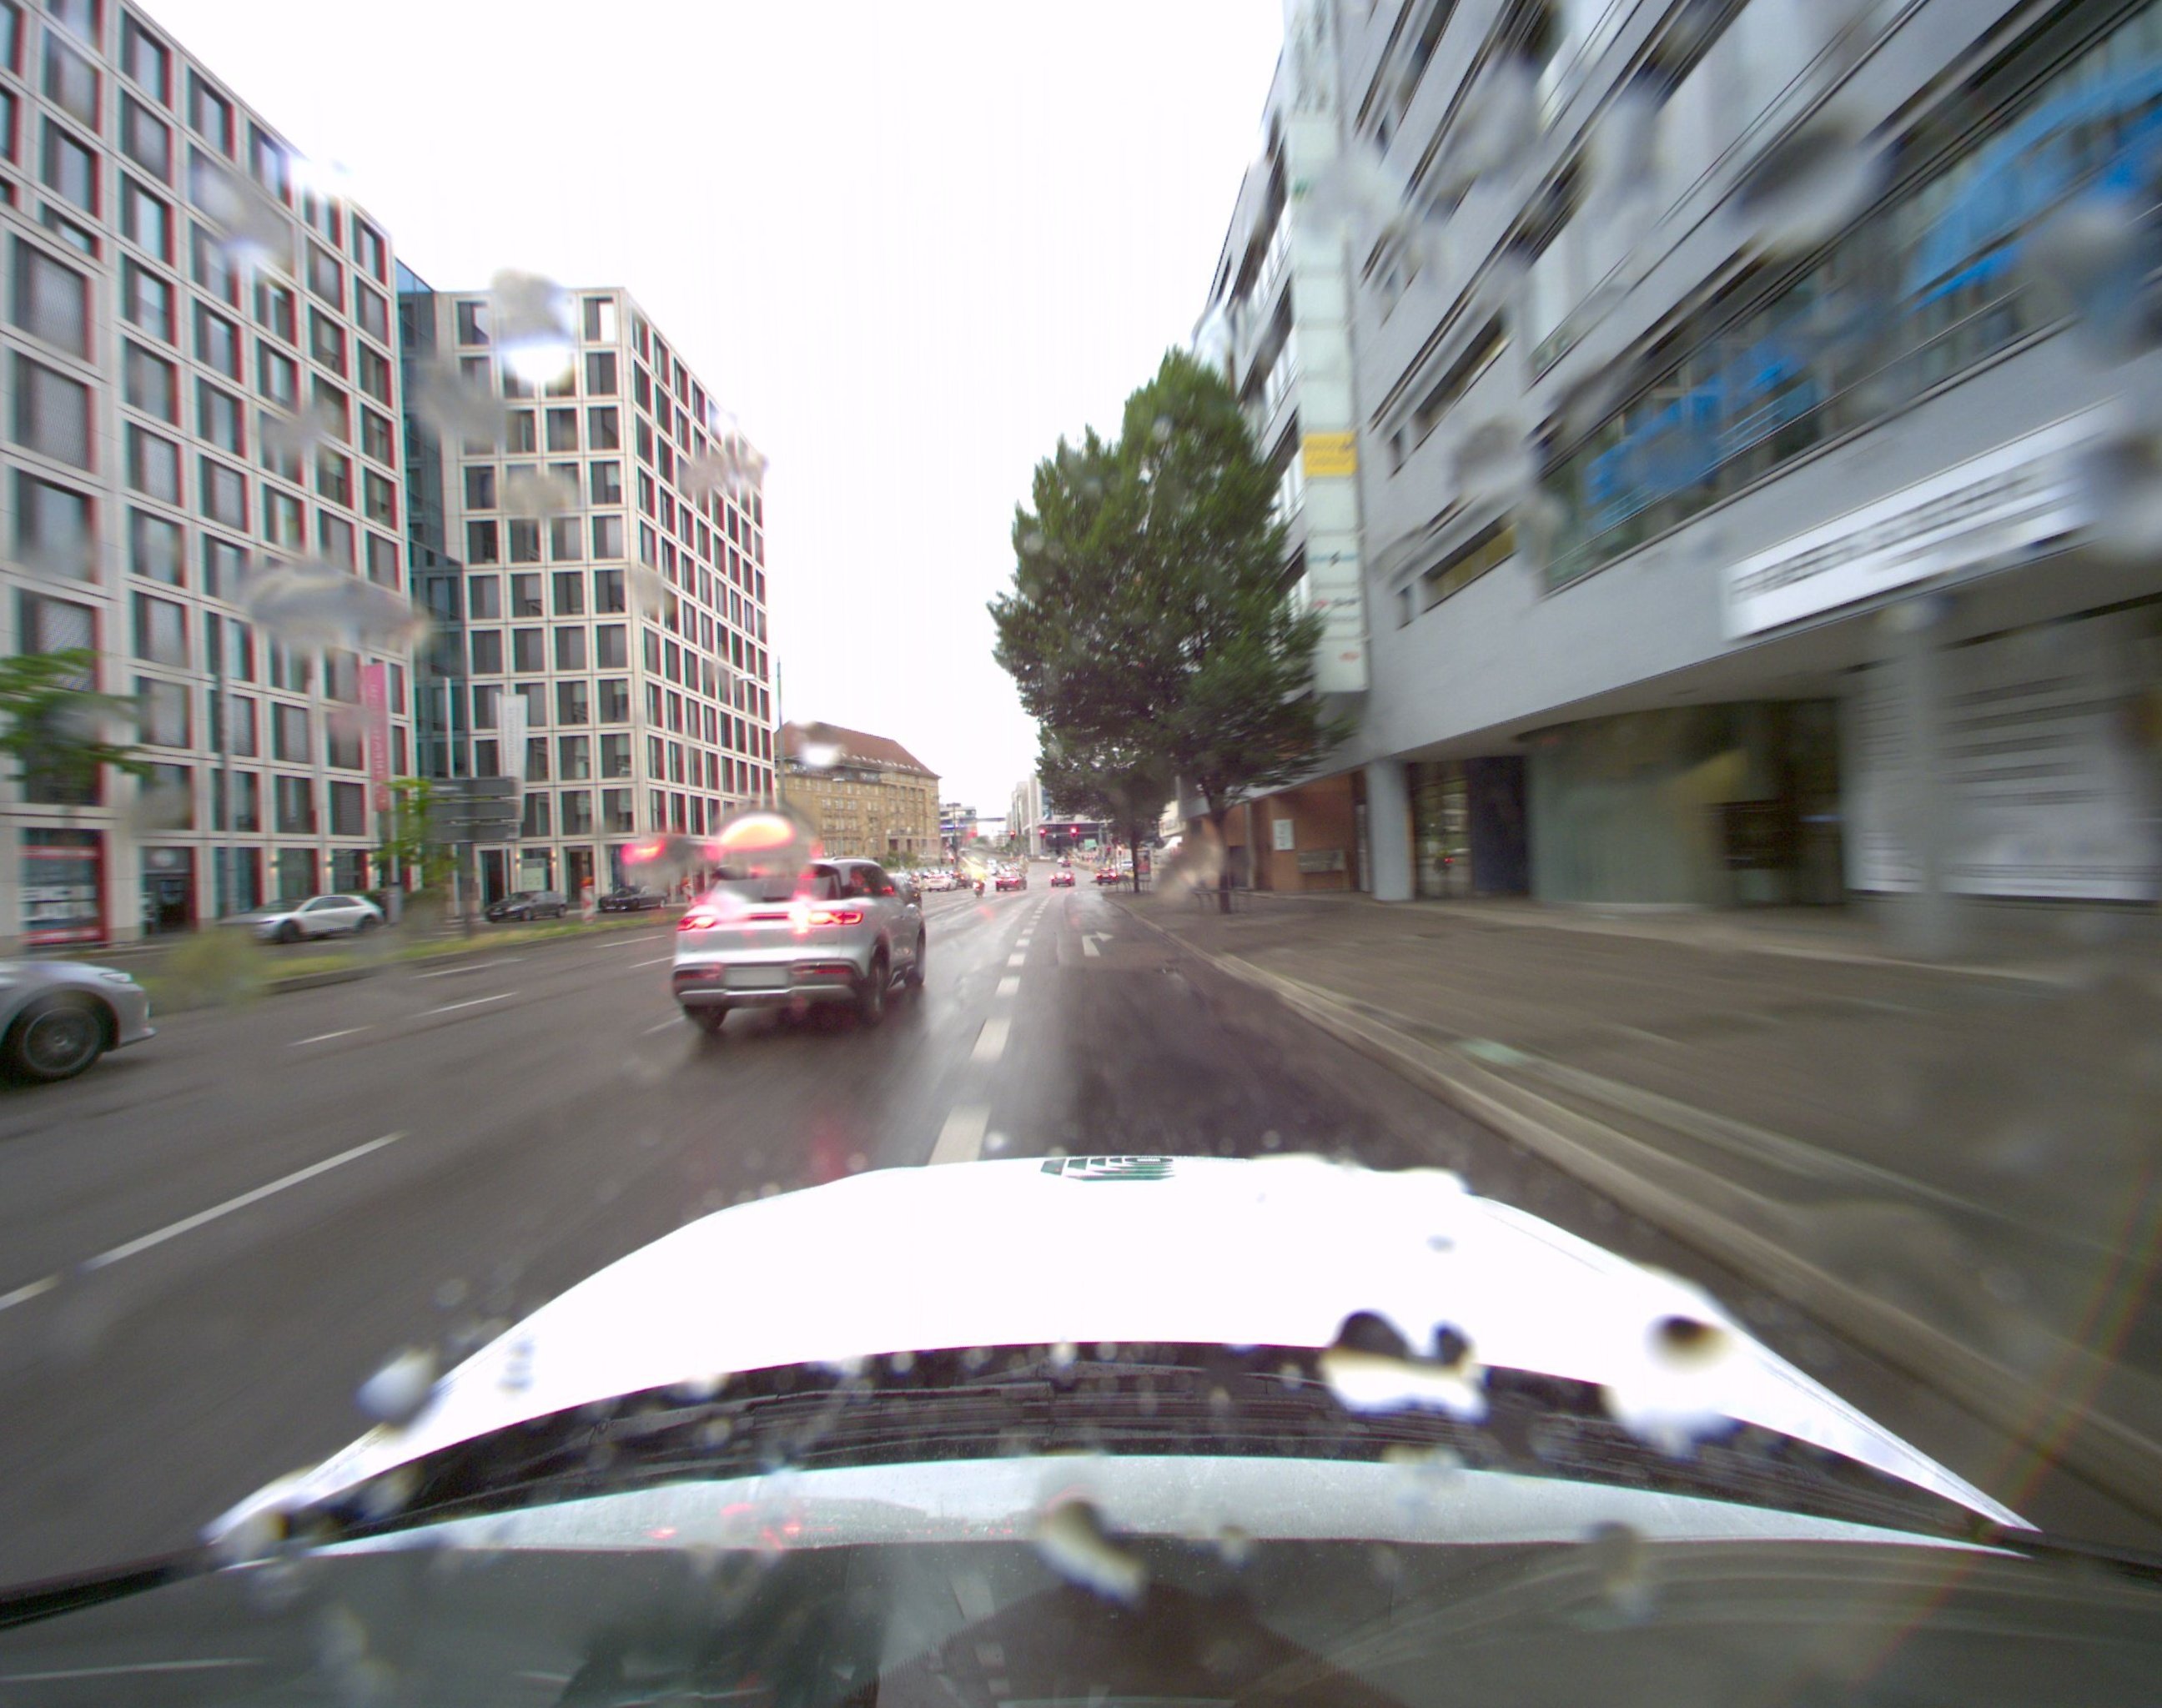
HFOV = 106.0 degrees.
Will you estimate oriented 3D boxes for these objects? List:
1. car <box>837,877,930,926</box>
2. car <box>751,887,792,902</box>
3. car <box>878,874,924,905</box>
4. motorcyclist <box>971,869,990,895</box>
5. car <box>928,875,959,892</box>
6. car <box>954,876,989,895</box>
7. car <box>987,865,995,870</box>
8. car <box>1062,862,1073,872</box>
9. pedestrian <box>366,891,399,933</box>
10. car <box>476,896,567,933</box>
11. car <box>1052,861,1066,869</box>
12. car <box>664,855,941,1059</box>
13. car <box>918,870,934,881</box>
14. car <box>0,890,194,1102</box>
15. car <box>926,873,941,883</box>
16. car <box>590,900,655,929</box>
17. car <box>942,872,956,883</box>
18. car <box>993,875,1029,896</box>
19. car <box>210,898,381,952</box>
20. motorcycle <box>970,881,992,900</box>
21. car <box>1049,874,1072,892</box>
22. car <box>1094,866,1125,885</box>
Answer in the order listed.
[{"bbox_3d":[-6.386,1.496,26.841,1.725,1.404,4.386,-2,-1,3],"label":"car"},{"bbox_3d":[-37.032,4.817,97.436,4.392,1.662,1.988,-1,-1,-18],"label":"car"},{"bbox_3d":[-9.890,1.925,45.041,1.728,1.616,3.997,-2,-1,-2],"label":"car"},{"bbox_3d":[-5.882,1.628,47.746,0.938,1.476,1.100,-2,-2,0],"label":"motorcyclist"},{"bbox_3d":[-11.726,2.500,69.807,1.776,1.373,3.996,-2,-1,3],"label":"car"},{"bbox_3d":[-10.222,2.947,76.432,1.770,1.600,4.088,-2,-1,15],"label":"car"},{"bbox_3d":[-24.749,3.631,224.526,1.762,1.260,4.192,-2,-1,-1],"label":"car"},{"bbox_3d":[-2.751,2.678,165.093,1.990,2.014,3.993,-2,-1,-4],"label":"car"},{"bbox_3d":[-30.090,2.491,35.069,0.611,1.734,0.965,-2,-2,-5],"label":"pedestrian"},{"bbox_3d":[-27.243,2.913,39.803,1.693,1.424,3.953,-4,-1,-1],"label":"car"},{"bbox_3d":[-5.183,2.617,194.093,2.001,1.816,3.971,-1,-1,-21],"label":"car"},{"bbox_3d":[-2.713,0.913,8.992,1.804,1.661,4.165,-2,-1,-4],"label":"car"},{"bbox_3d":[-23.349,3.221,122.751,1.693,1.519,3.872,-4,-1,-1],"label":"car"},{"bbox_3d":[-8.806,1.057,4.869,1.826,1.521,4.797,-2,-1,-2],"label":"car"},{"bbox_3d":[-23.665,3.826,130.812,1.694,1.574,3.995,-2,-1,-3],"label":"car"},{"bbox_3d":[-27.540,3.608,49.051,1.693,1.424,3.953,-4,-1,-1],"label":"car"},{"bbox_3d":[-20.440,3.653,126.235,1.798,1.574,4.069,-2,-1,-3],"label":"car"},{"bbox_3d":[-5.581,2.521,65.416,1.877,1.515,5.010,-2,-1,6],"label":"car"},{"bbox_3d":[-27.205,2.410,28.449,1.693,1.424,4.371,-4,-1,-1],"label":"car"},{"bbox_3d":[-5.861,2.119,47.790,0.939,0.989,2.294,-2,-1,0],"label":"motorcycle"},{"bbox_3d":[-1.823,2.594,73.463,1.777,1.402,4.488,-2,1,2],"label":"car"},{"bbox_3d":[2.553,1.846,71.573,1.878,1.544,4.008,-2,-1,14],"label":"car"}]
